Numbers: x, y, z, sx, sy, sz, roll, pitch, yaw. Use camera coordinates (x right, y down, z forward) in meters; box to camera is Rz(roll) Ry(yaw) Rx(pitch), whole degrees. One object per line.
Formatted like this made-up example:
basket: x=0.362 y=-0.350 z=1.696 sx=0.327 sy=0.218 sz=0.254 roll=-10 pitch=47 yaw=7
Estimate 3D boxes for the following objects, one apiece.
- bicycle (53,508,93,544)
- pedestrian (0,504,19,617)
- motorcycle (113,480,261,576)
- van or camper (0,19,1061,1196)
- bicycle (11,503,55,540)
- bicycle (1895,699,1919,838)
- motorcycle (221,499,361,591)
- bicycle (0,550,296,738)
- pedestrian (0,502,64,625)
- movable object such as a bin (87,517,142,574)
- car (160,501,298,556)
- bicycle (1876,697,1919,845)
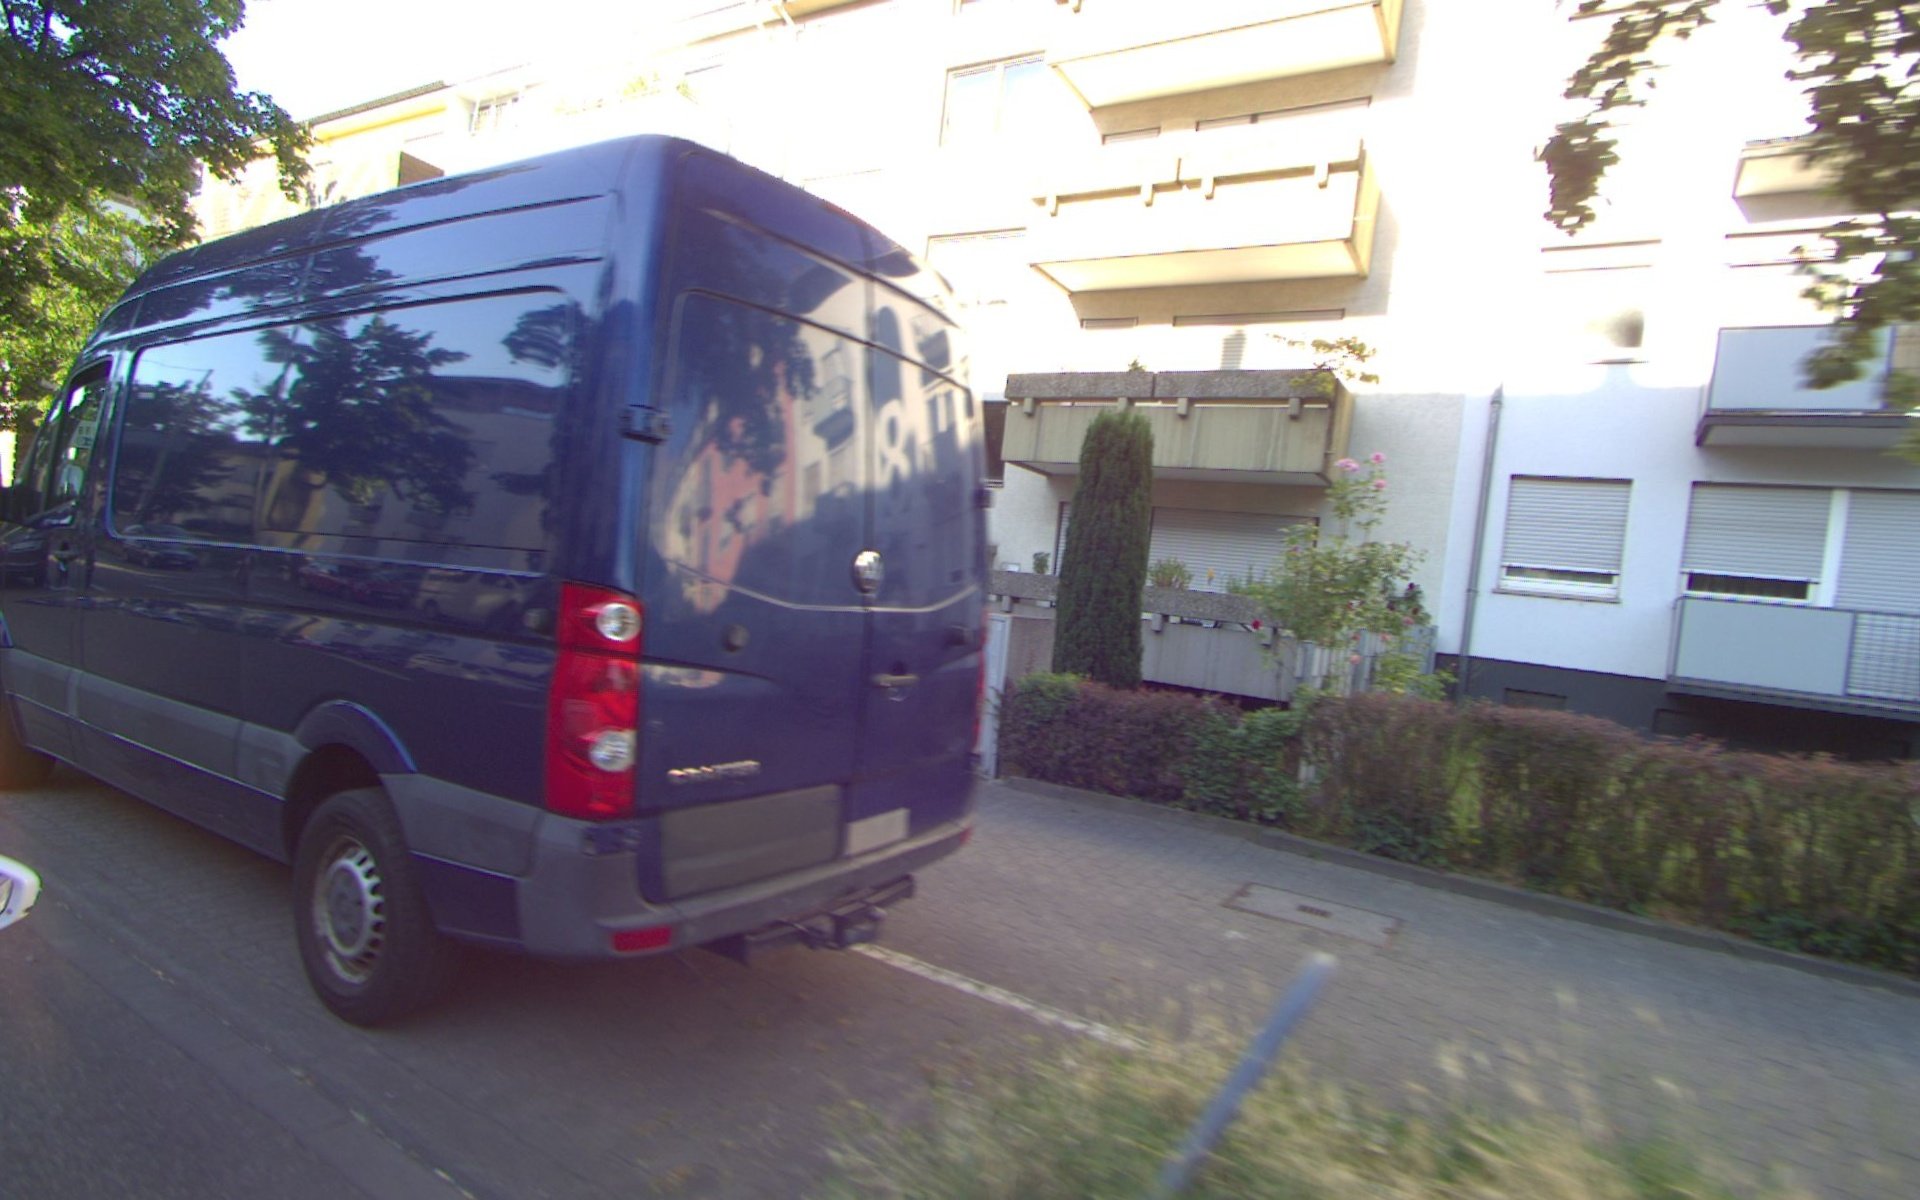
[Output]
bicycle: x=-26.906 y=-2.254 z=30.505 sx=1.554 sy=0.963 sz=0.342 roll=7 pitch=4 yaw=26
pedestrian: x=-11.360 y=-0.496 z=11.583 sx=0.650 sy=1.270 sz=0.650 roll=5 pitch=2 yaw=-40
motorcycle: x=-15.693 y=-1.434 z=20.487 sx=0.720 sy=1.642 sz=2.192 roll=8 pitch=1 yaw=38
van or camper: x=-2.746 y=-0.173 z=4.758 sx=5.891 sy=2.709 sz=2.069 roll=6 pitch=1 yaw=32
bicycle: x=-27.796 y=-2.360 z=30.152 sx=1.554 sy=0.961 sz=0.343 roll=7 pitch=-1 yaw=26
bicycle: x=8.493 y=1.455 z=7.892 sx=1.519 sy=1.103 sz=0.493 roll=7 pitch=2 yaw=32
motorcycle: x=-14.093 y=-1.138 z=21.243 sx=0.876 sy=1.642 sz=2.192 roll=8 pitch=1 yaw=38
bicycle: x=-5.484 y=0.300 z=6.678 sx=0.398 sy=1.103 sz=1.702 roll=8 pitch=1 yaw=34
pedestrian: x=-10.381 y=-0.418 z=10.867 sx=0.688 sy=1.270 sz=0.798 roll=8 pitch=2 yaw=29
movable object such as a bin: x=-15.929 y=-1.025 z=18.951 sx=0.530 sy=0.961 sz=0.613 roll=8 pitch=2 yaw=32
car: x=-28.937 y=-2.802 z=39.938 sx=1.897 sy=1.605 sz=3.920 roll=8 pitch=1 yaw=32
bicycle: x=7.989 y=1.395 z=7.510 sx=1.519 sy=1.103 sz=0.493 roll=7 pitch=2 yaw=32
